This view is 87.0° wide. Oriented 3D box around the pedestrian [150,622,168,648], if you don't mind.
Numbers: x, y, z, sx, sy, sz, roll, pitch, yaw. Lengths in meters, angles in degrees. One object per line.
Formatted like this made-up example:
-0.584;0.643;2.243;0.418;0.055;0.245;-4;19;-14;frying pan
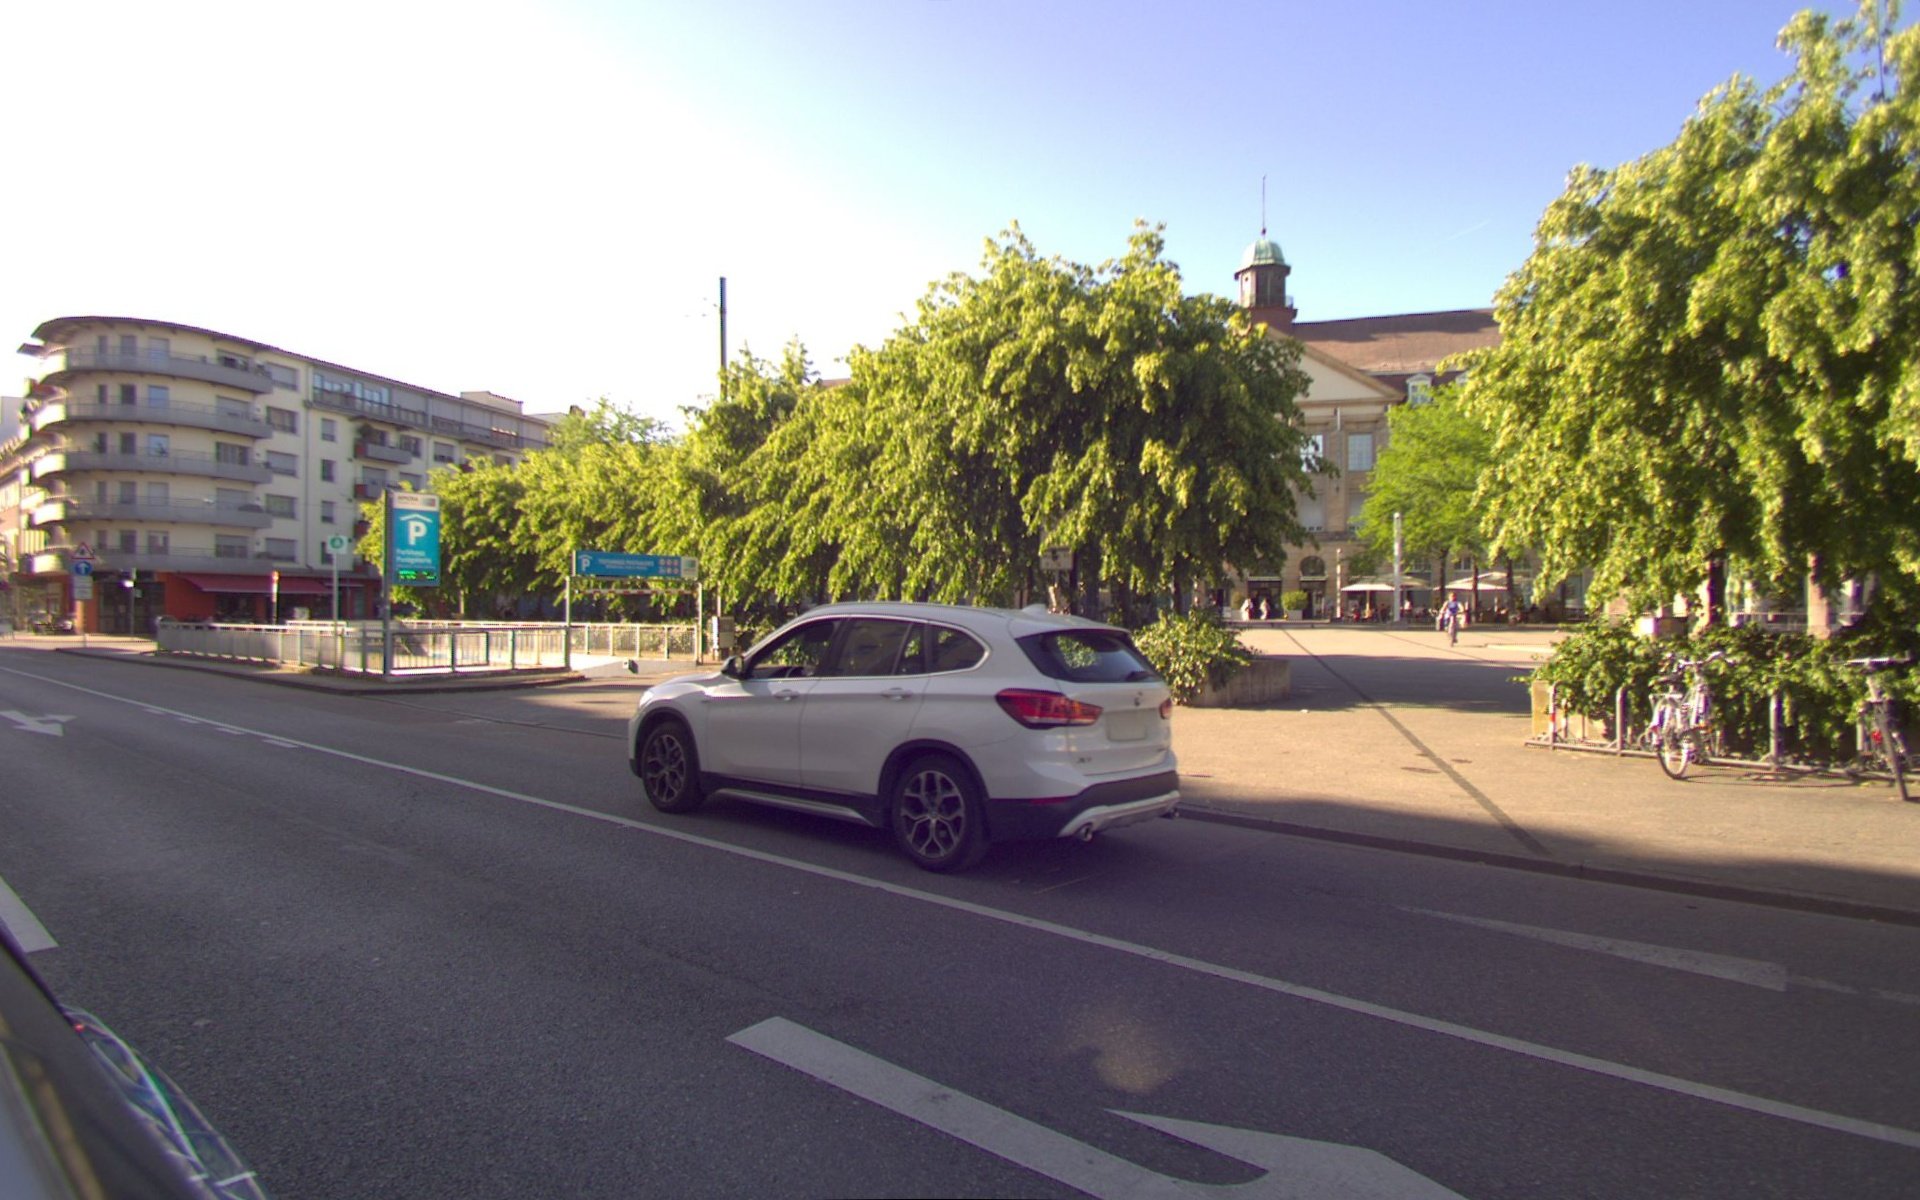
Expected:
-46.341;2.027;58.546;0.780;1.472;0.583;0;-1;-40;pedestrian

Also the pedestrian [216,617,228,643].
-43.924;1.792;60.248;0.573;1.501;0.794;0;-1;-36;pedestrian

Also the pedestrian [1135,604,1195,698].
4.018;0.979;19.840;0.885;1.771;0.738;0;-1;-39;pedestrian

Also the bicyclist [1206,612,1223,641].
12.525;1.307;49.784;0.671;1.439;0.691;-1;-1;31;bicyclist

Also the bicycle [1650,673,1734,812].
6.578;1.228;9.073;0.430;1.025;1.580;-1;0;42;bicycle

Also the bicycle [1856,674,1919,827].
7.511;1.162;8.133;0.430;1.031;1.550;-1;-1;42;bicycle

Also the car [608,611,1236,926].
-0.465;0.937;7.142;4.306;1.567;1.789;-1;-5;40;car

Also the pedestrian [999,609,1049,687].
1.489;1.095;23.639;0.885;1.771;0.738;0;-1;-39;pedestrian

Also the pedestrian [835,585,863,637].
-3.667;0.372;33.398;0.672;1.683;0.843;-1;-1;13;pedestrian

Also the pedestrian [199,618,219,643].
-45.347;1.853;61.123;0.782;1.473;0.582;0;-1;3;pedestrian

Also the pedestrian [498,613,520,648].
-23.788;1.598;53.352;0.753;1.819;0.748;-1;-1;25;pedestrian

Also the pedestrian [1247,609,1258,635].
22.451;1.661;77.585;0.751;1.948;0.939;0;-1;20;pedestrian

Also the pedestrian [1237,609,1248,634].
21.755;1.639;77.947;0.751;1.948;0.939;-1;-1;20;pedestrian

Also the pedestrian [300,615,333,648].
-40.780;1.983;64.147;1.251;2.029;1.226;-1;-1;19;pedestrian

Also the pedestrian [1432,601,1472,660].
14.997;0.936;30.840;0.889;1.771;0.735;-1;-1;10;pedestrian

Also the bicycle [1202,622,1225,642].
12.480;1.546;49.770;0.587;0.961;1.887;-1;-1;31;bicycle
